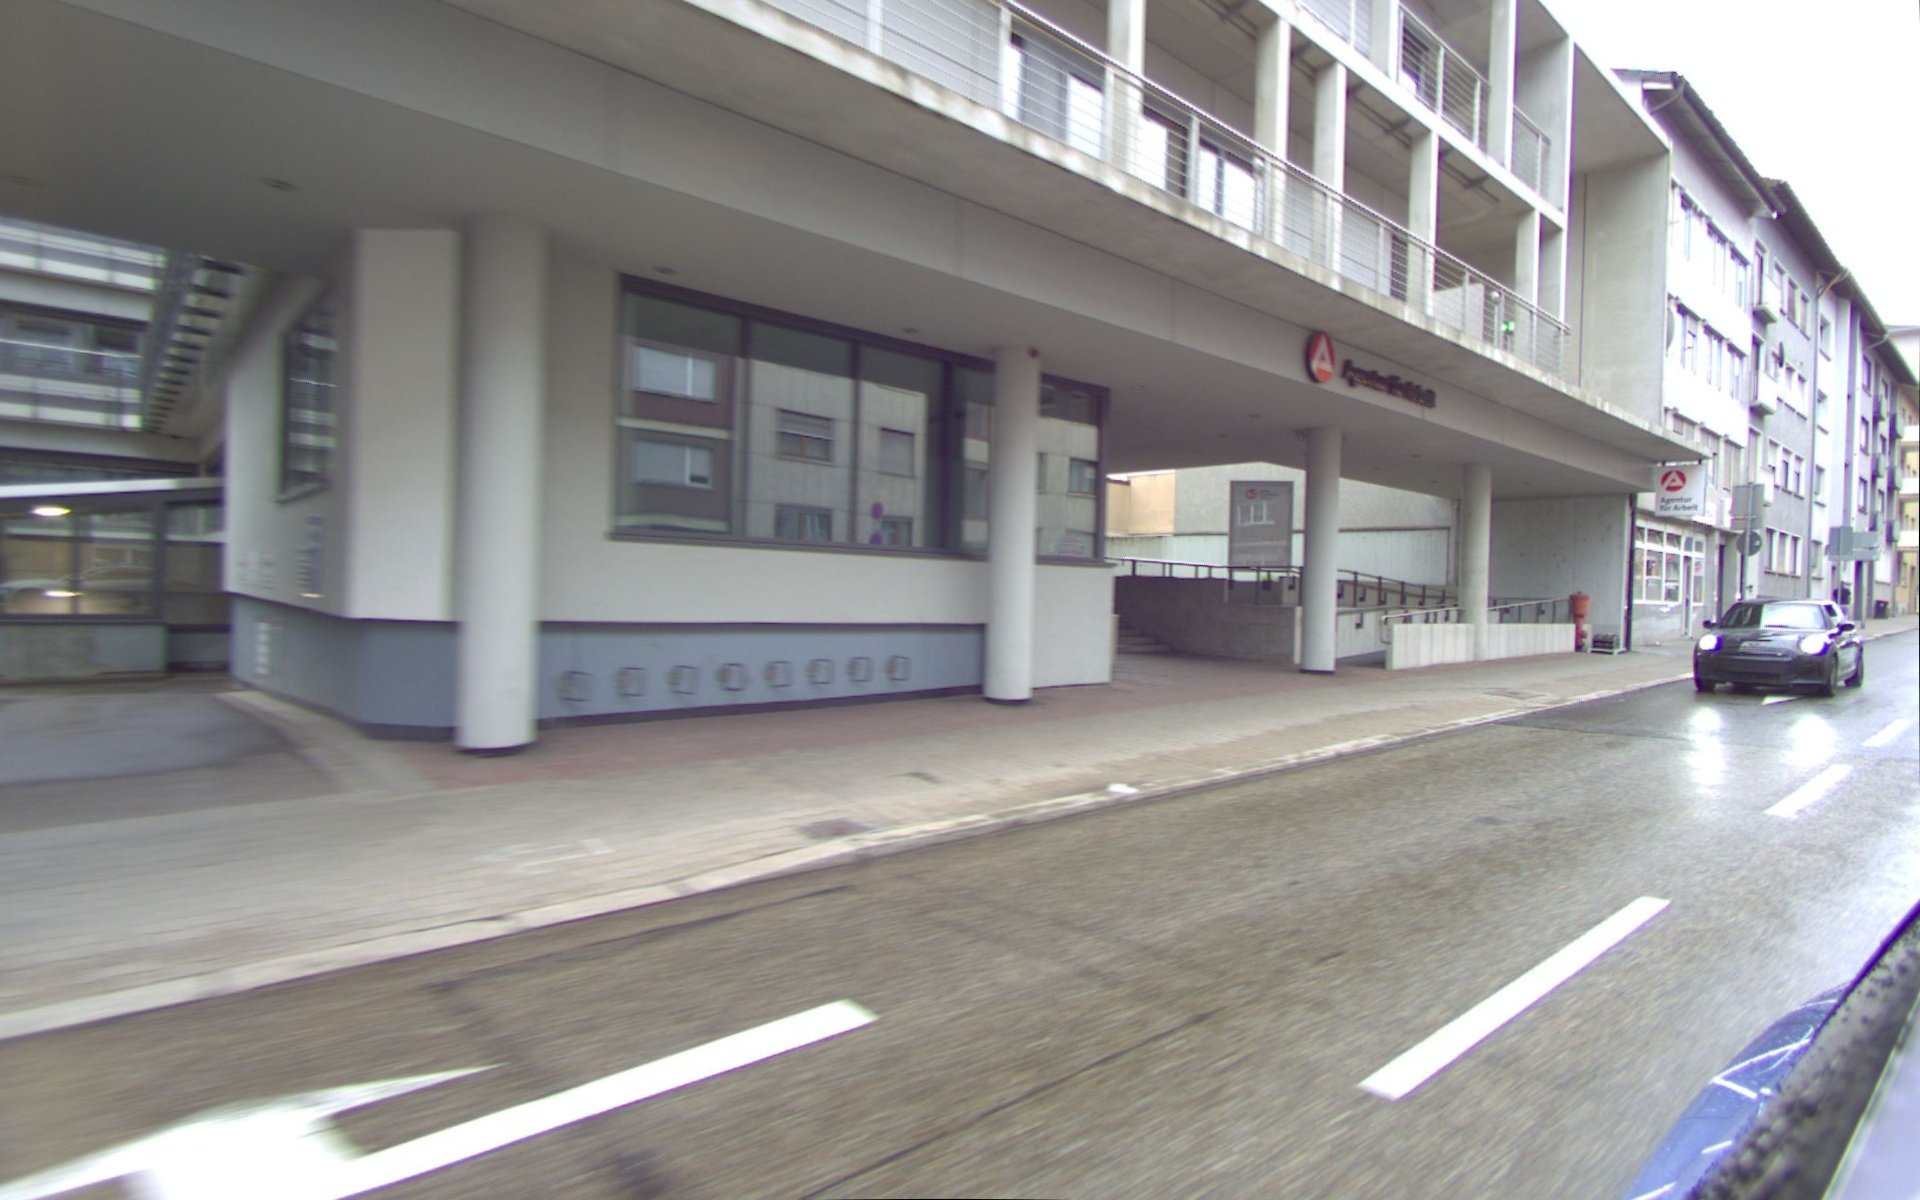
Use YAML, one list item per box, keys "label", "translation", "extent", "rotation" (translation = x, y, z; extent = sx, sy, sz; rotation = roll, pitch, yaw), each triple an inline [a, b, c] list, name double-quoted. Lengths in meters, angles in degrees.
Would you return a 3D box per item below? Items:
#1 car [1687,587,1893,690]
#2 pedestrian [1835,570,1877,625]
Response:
- label: "car"
  translation: [13.417, 0.539, 16.280]
  extent: [4.144, 1.394, 1.854]
  rotation: [-2, 0, -41]
- label: "pedestrian"
  translation: [32.809, -0.108, 37.064]
  extent: [1.100, 1.888, 0.871]
  rotation: [-1, 6, -41]
